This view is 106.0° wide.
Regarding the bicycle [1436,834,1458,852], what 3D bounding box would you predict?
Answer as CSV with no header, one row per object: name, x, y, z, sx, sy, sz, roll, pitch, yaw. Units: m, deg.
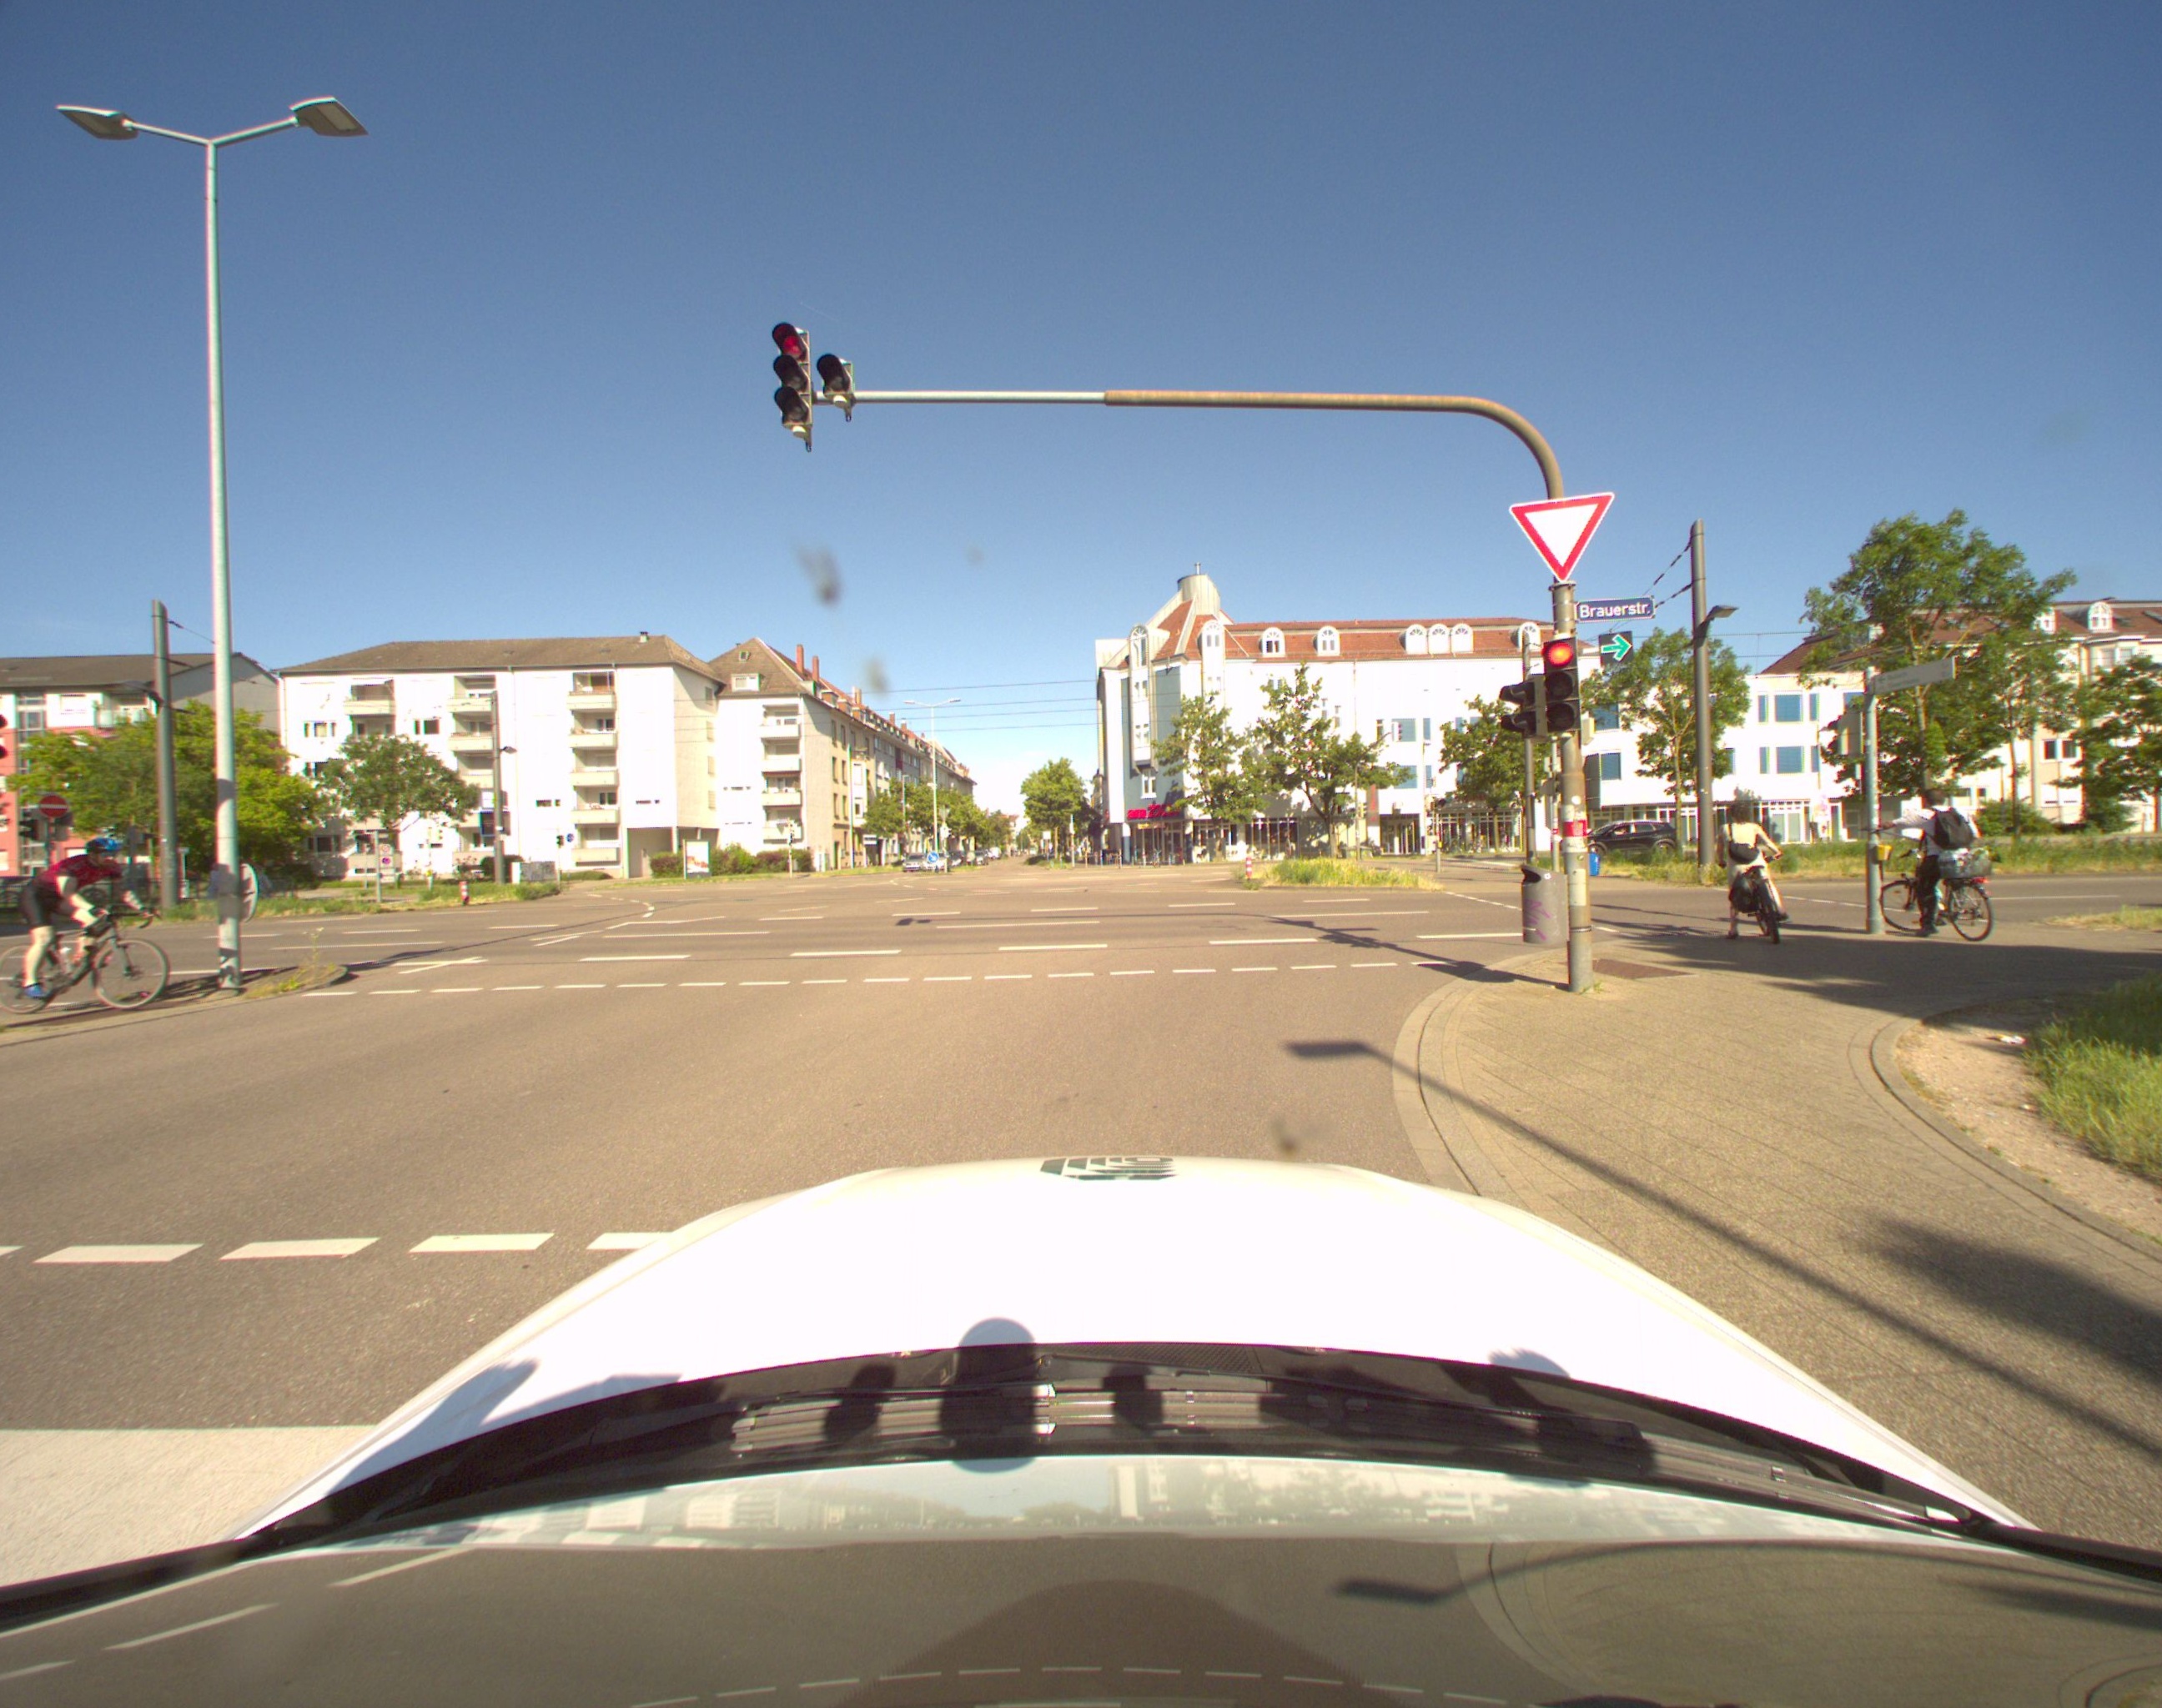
bicycle,24.394,-0.731,54.373,0.559,1.182,1.869,-2,0,-1

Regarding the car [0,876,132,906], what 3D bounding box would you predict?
car,-54.636,1.959,43.905,1.672,1.432,4.427,1,0,38

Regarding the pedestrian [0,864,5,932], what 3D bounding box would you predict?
pedestrian,-28.867,1.175,20.890,0.919,1.770,1.152,-2,0,-5

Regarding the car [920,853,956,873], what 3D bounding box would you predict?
car,-10.679,0.640,61.059,1.681,1.432,4.403,1,0,3

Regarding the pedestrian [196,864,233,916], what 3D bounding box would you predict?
pedestrian,-30.003,1.248,28.194,1.139,1.726,0.818,-2,0,42

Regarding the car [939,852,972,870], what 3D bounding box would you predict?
car,-10.352,0.572,67.443,1.680,1.432,4.405,1,0,4

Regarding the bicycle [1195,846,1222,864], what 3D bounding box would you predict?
bicycle,7.620,0.057,48.606,1.502,1.027,0.474,-2,0,10

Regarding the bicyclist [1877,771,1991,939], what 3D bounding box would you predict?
bicyclist,10.548,0.009,10.117,0.782,1.959,1.017,-2,0,38

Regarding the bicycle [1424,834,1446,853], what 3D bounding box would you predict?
bicycle,23.496,-0.696,54.058,0.559,1.182,1.869,-2,0,-1

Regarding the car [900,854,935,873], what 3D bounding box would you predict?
car,-12.810,0.705,64.122,1.681,1.432,4.403,1,0,3

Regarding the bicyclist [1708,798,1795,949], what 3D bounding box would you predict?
bicyclist,8.668,0.231,10.577,0.782,1.824,1.143,-2,0,38

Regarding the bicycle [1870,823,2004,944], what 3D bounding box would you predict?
bicycle,10.618,0.307,10.188,0.782,1.347,2.277,-2,0,38

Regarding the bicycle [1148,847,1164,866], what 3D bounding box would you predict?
bicycle,4.272,0.135,46.327,0.471,1.027,1.510,-2,0,-11

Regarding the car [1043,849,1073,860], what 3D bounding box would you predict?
car,-2.807,0.107,99.452,3.564,1.223,1.727,-1,-1,-7

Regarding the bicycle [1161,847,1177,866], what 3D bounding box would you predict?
bicycle,5.047,0.152,46.852,0.472,1.027,1.510,-2,0,-12

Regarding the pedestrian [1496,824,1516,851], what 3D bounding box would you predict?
pedestrian,28.683,-1.116,54.993,0.987,1.723,0.654,-2,0,-1

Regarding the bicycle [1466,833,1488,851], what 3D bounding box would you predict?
bicycle,26.259,-0.784,53.968,0.558,1.182,1.870,-2,0,2

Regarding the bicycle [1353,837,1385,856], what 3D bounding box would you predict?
bicycle,18.690,-0.481,52.857,1.860,1.182,0.561,-2,0,-5

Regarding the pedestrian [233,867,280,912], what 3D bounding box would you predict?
pedestrian,-29.040,1.235,28.701,0.723,1.533,0.857,-2,0,-5

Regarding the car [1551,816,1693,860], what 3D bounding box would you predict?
car,22.394,-0.653,33.877,4.474,1.609,2.005,-2,0,9

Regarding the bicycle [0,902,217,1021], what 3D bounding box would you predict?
bicycle,-10.228,1.089,8.353,1.805,1.055,0.671,-2,0,-9

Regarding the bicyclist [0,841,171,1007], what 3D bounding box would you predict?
bicyclist,-10.264,0.688,8.347,1.001,1.585,0.671,-2,0,-9

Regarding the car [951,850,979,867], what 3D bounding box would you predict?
car,-10.407,0.403,73.469,1.681,1.432,4.403,1,0,3

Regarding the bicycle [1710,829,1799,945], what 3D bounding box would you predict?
bicycle,8.671,0.370,10.554,0.782,1.347,2.092,-2,0,38

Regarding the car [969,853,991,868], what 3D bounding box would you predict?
car,-10.232,0.604,82.508,1.682,1.432,4.399,1,0,0

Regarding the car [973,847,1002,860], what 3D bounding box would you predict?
car,-14.935,-0.131,130.429,4.494,2.014,1.998,-1,-1,-3
